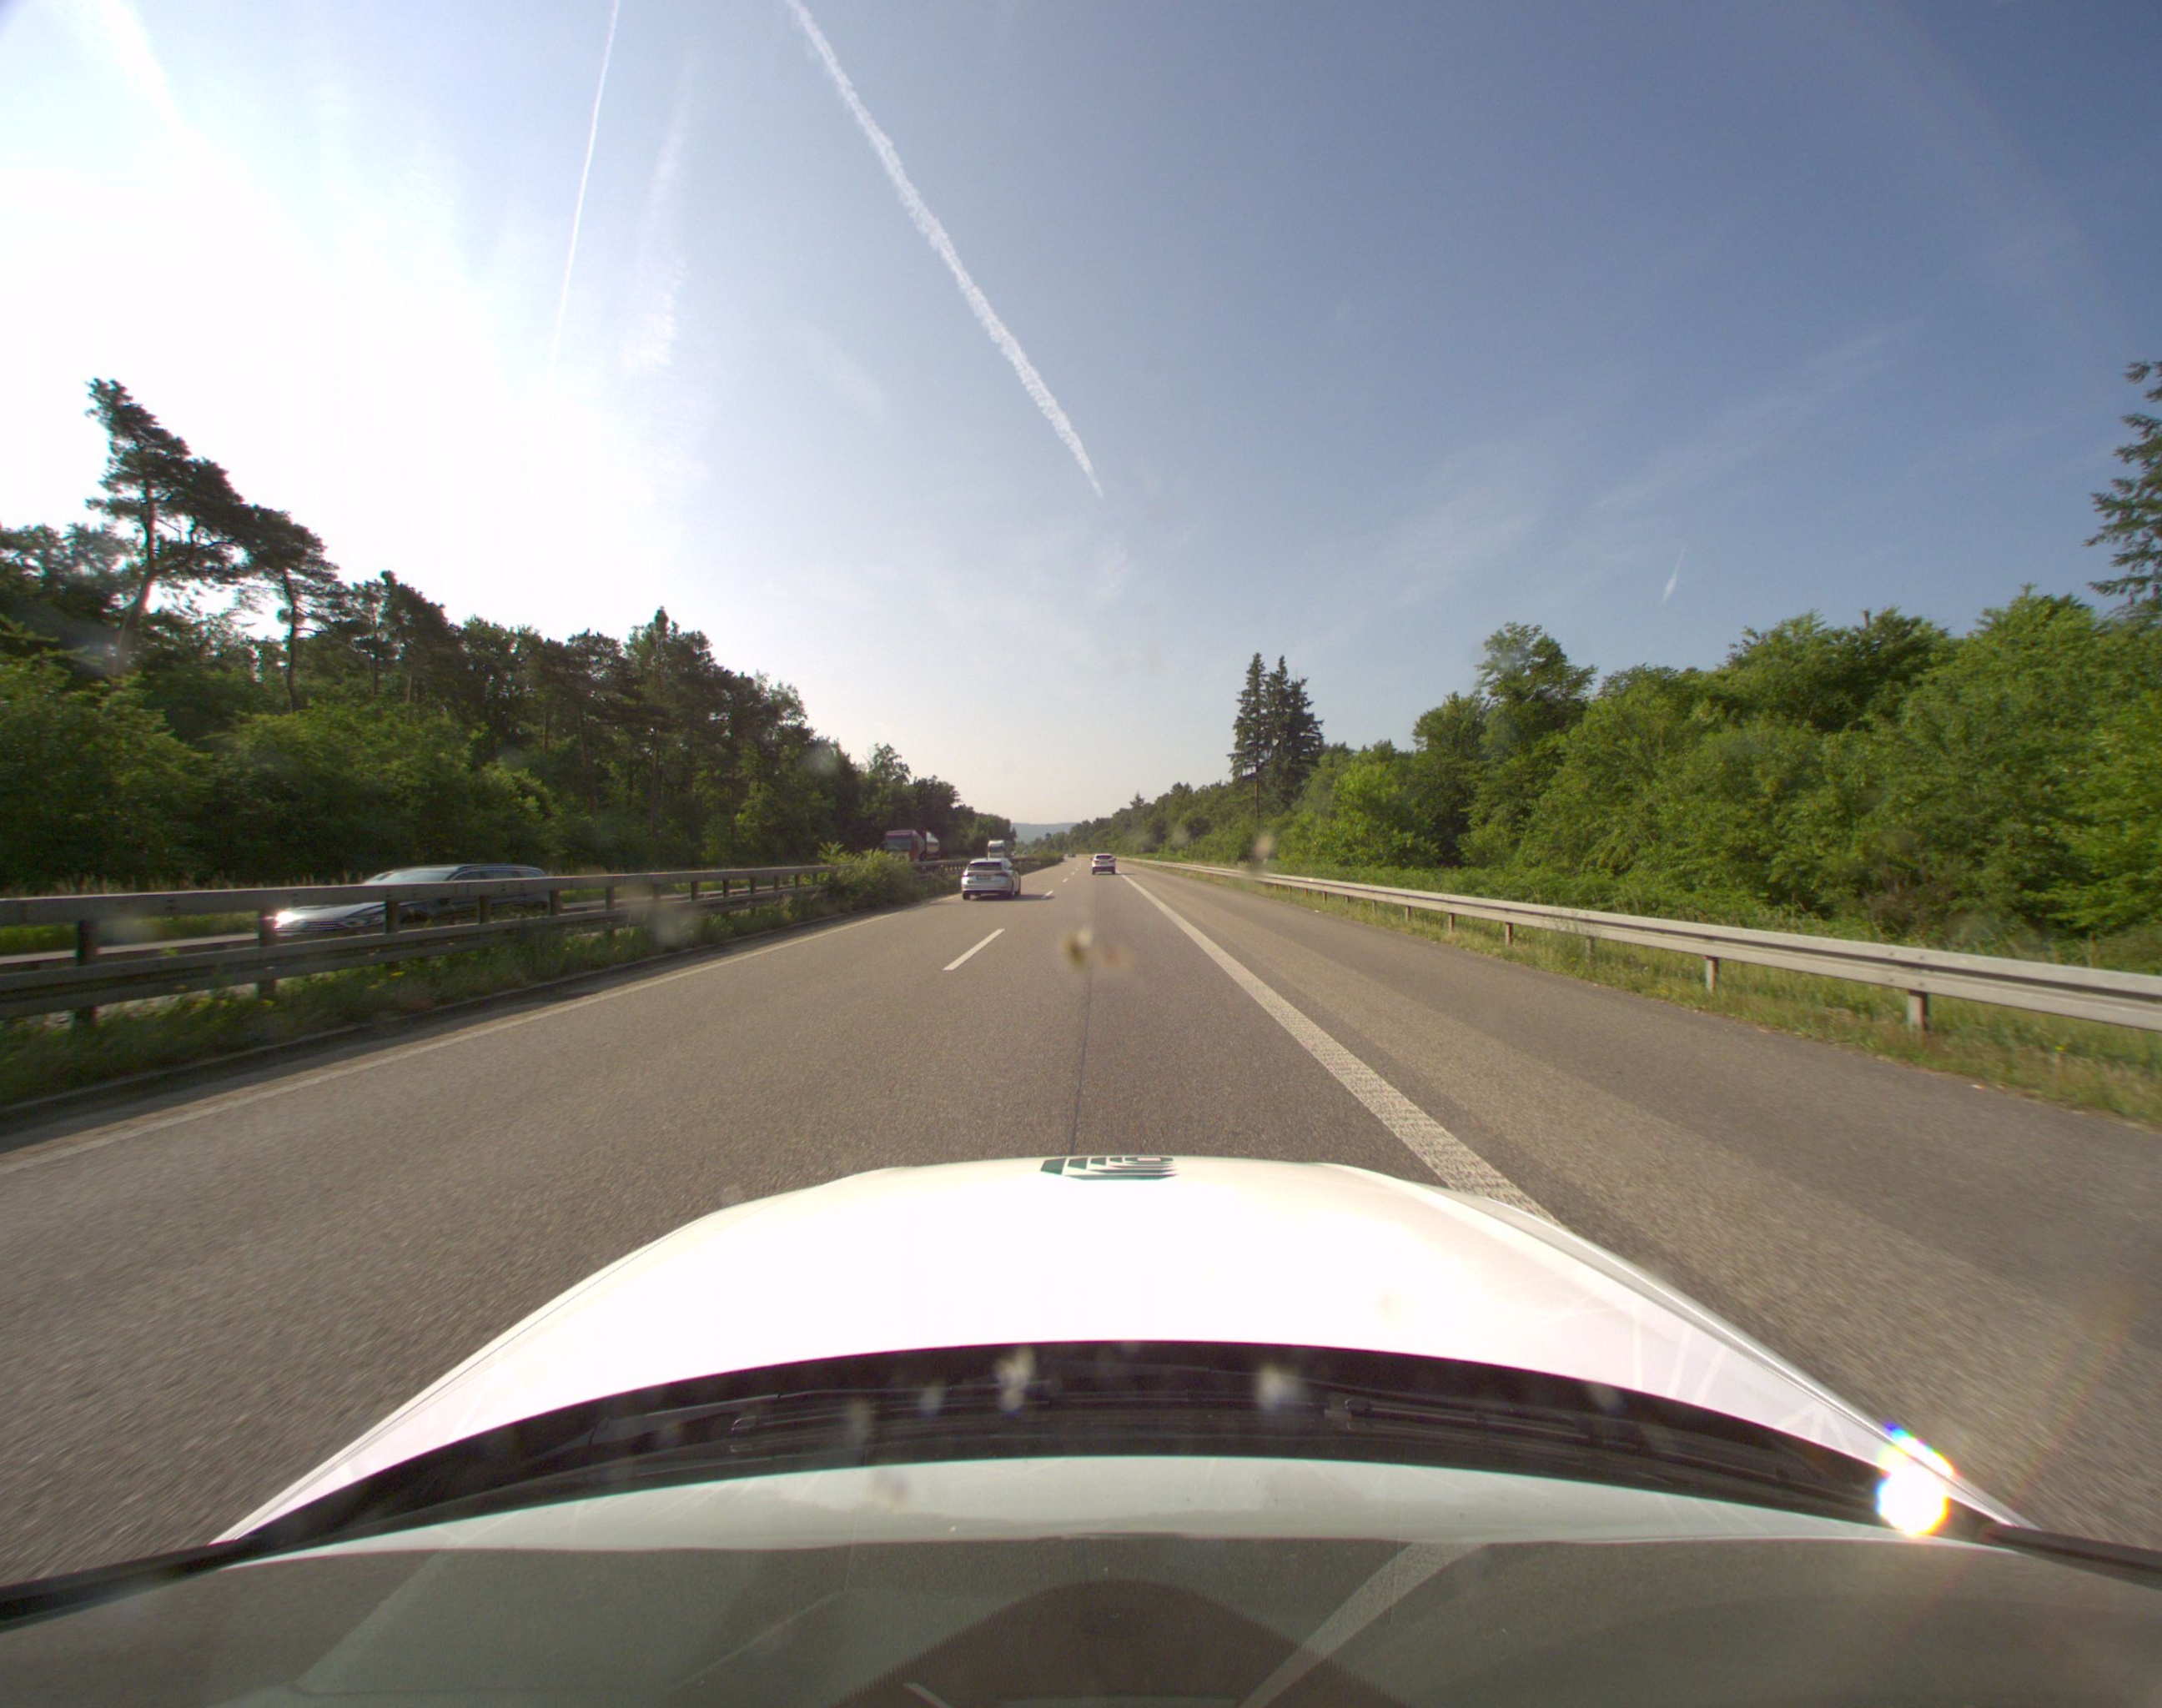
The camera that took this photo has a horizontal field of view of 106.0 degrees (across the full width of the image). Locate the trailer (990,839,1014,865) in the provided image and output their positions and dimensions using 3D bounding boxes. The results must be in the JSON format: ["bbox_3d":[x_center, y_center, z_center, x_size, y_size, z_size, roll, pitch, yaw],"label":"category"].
[{"bbox_3d":[-13.575,-0.293,141.303,2.823,4.208,12.409,-2,0,0],"label":"trailer"}]

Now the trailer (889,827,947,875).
[{"bbox_3d":[-14.432,-0.209,72.873,3.283,4.039,8.375,-1,-1,1],"label":"trailer"}]

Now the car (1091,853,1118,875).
[{"bbox_3d":[1.799,0.720,63.065,1.868,1.586,3.998,1,0,-1],"label":"car"}]

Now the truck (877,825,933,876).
[{"bbox_3d":[-14.510,-0.261,67.679,3.256,4.039,6.232,-1,-1,0],"label":"truck"}]

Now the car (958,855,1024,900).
[{"bbox_3d":[-3.233,0.792,30.296,1.786,1.438,5.278,-2,0,0],"label":"car"}]

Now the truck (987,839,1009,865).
[{"bbox_3d":[-13.585,-0.291,133.765,2.829,4.196,5.545,-2,0,0],"label":"truck"}]

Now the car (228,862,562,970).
[{"bbox_3d":[-11.018,0.888,13.637,1.698,1.449,4.582,0,0,0],"label":"car"}]
